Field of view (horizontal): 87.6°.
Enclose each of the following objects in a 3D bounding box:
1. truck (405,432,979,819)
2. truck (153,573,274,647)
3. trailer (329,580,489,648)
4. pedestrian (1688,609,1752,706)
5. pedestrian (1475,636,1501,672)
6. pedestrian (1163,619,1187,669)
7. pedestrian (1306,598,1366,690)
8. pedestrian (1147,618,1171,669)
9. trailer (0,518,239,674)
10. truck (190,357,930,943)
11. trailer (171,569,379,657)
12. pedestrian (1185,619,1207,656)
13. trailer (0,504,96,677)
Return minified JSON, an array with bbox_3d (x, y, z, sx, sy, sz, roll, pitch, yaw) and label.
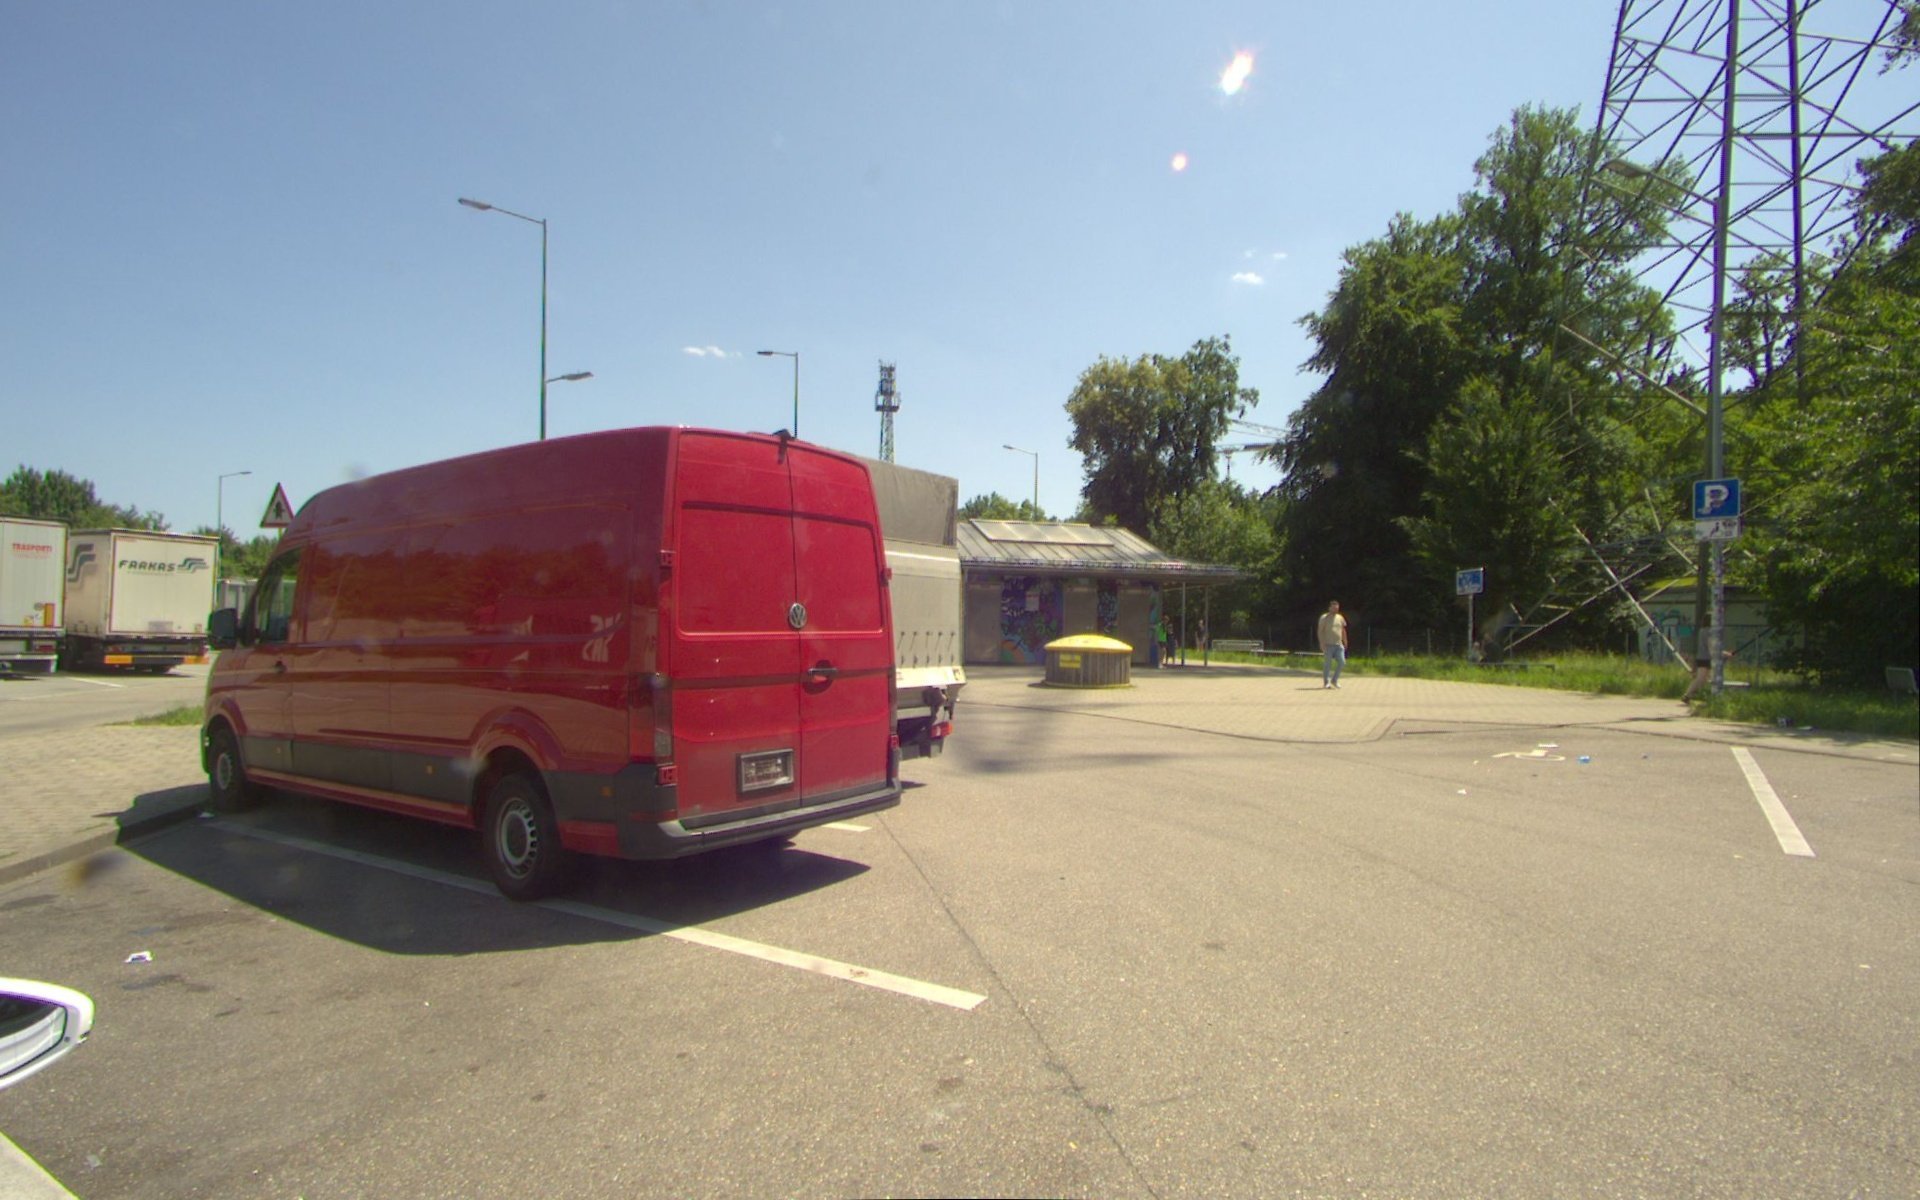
[{"bbox_3d":[-3.069,0.276,10.501,6.372,2.944,2.411,-1,-2,37],"label":"truck"},{"bbox_3d":[-37.526,0.481,50.307,5.887,3.406,2.862,1,-2,32],"label":"truck"},{"bbox_3d":[-36.145,0.852,65.322,13.562,3.955,2.854,1,-2,32],"label":"trailer"},{"bbox_3d":[13.410,1.005,17.682,0.702,1.670,0.686,-1,-1,20],"label":"pedestrian"},{"bbox_3d":[14.663,1.493,27.794,0.439,0.987,0.460,0,-1,-19],"label":"pedestrian"},{"bbox_3d":[6.045,1.230,28.196,0.532,1.392,0.583,0,-1,0],"label":"pedestrian"},{"bbox_3d":[8.029,0.938,21.423,0.799,1.929,0.920,0,-1,-15],"label":"pedestrian"},{"bbox_3d":[5.494,1.202,27.636,0.532,1.392,0.583,0,-1,0],"label":"pedestrian"},{"bbox_3d":[-27.594,-0.163,31.592,13.562,4.162,2.854,1,-2,32],"label":"trailer"},{"bbox_3d":[-3.320,0.304,7.317,6.372,2.685,2.005,-1,-2,37],"label":"truck"},{"bbox_3d":[-32.454,0.490,47.083,13.562,3.646,2.854,1,-2,32],"label":"trailer"},{"bbox_3d":[10.645,1.695,45.189,0.801,1.639,0.918,-1,-1,26],"label":"pedestrian"},{"bbox_3d":[-28.668,-0.336,28.005,13.562,4.162,2.854,1,-2,32],"label":"trailer"}]
